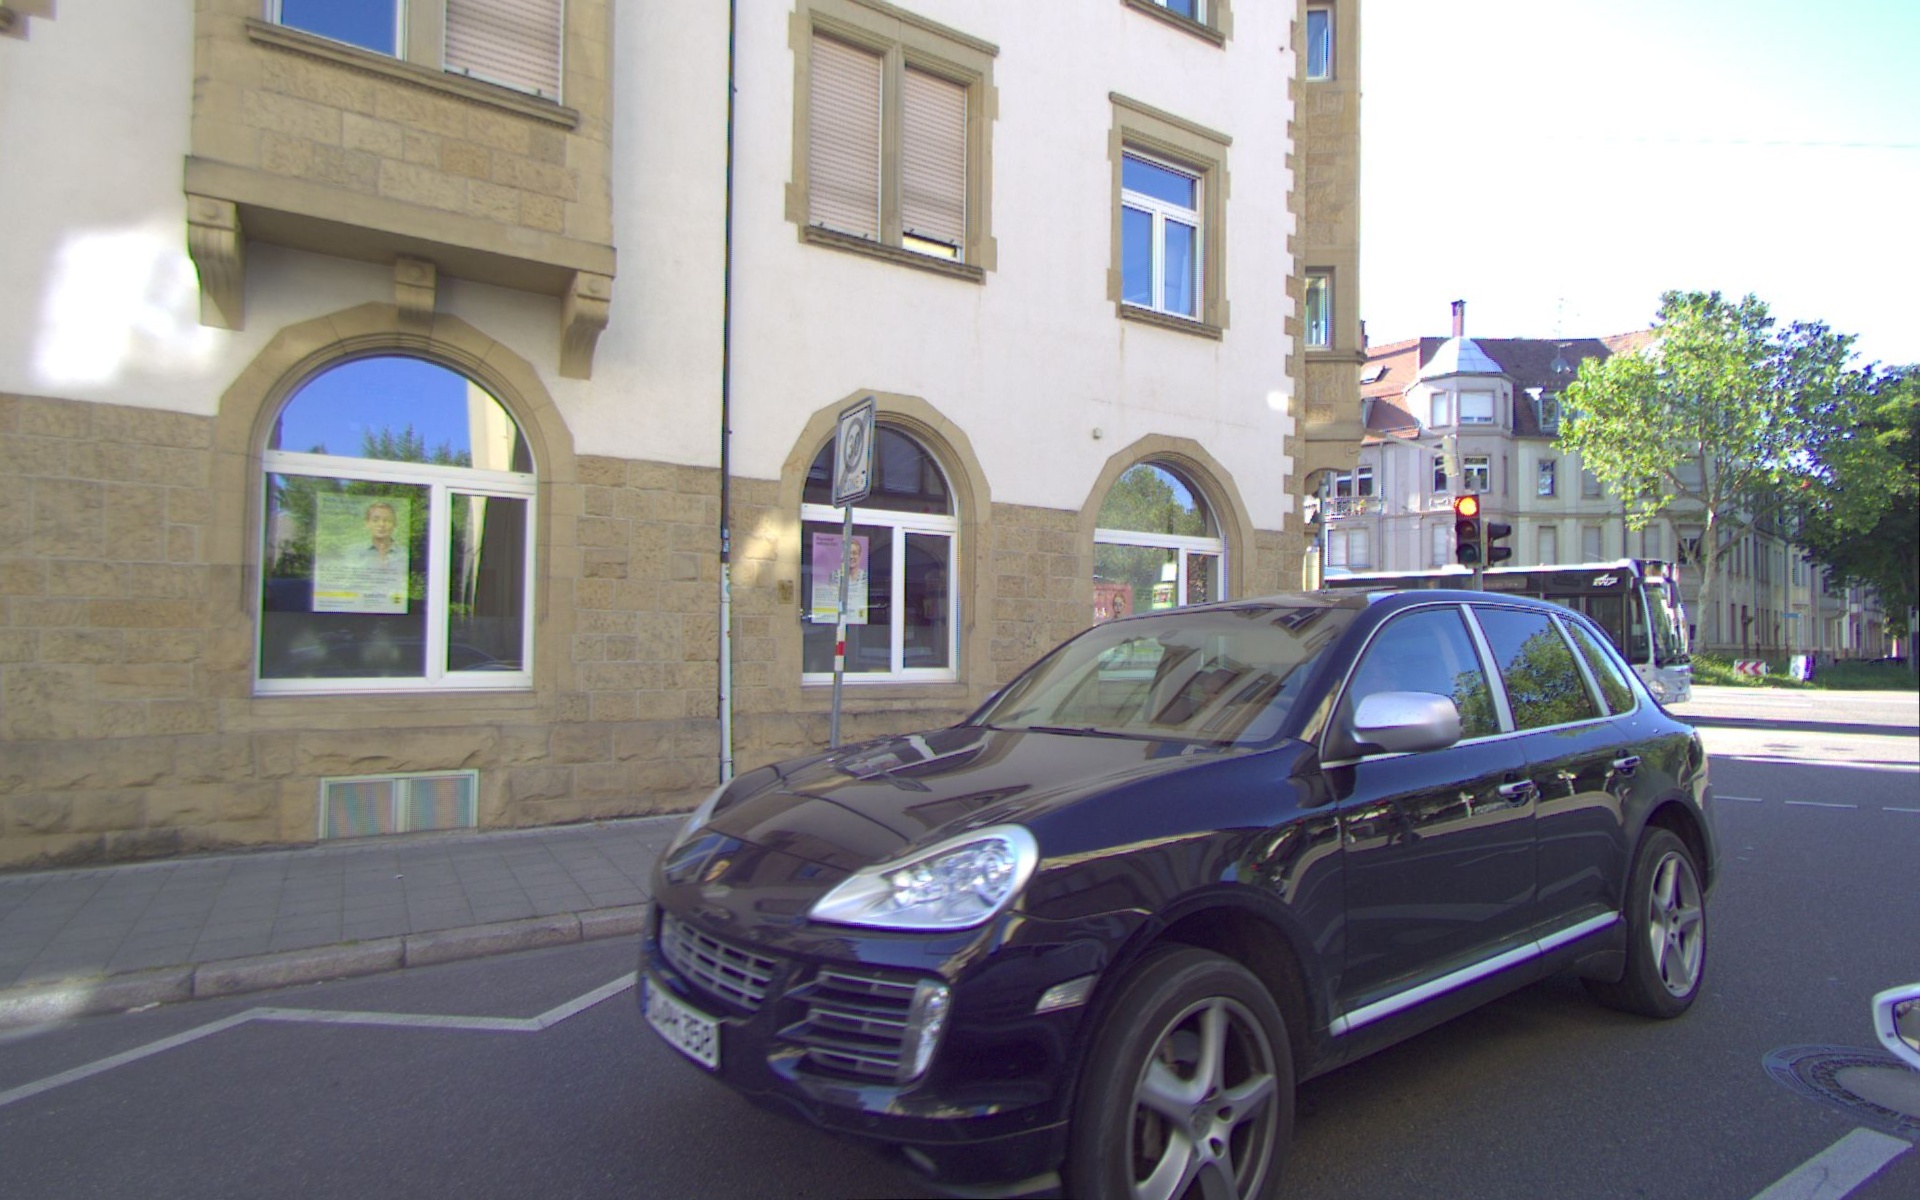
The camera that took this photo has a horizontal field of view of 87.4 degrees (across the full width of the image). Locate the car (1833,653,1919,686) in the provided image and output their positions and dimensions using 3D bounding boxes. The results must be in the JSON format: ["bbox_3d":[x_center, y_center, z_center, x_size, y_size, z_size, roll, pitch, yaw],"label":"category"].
[{"bbox_3d":[45.457,3.409,49.503,1.647,1.476,3.595,2,-2,-44],"label":"car"}]

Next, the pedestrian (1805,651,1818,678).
[{"bbox_3d":[47.538,3.576,56.068,0.483,1.461,0.701,2,0,45],"label":"pedestrian"}]

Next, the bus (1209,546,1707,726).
[{"bbox_3d":[10.250,0.744,22.039,2.724,3.137,9.538,2,-2,-40],"label":"bus"}]

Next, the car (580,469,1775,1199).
[{"bbox_3d":[1.181,0.780,3.994,4.665,1.715,2.059,3,-5,-37],"label":"car"}]
